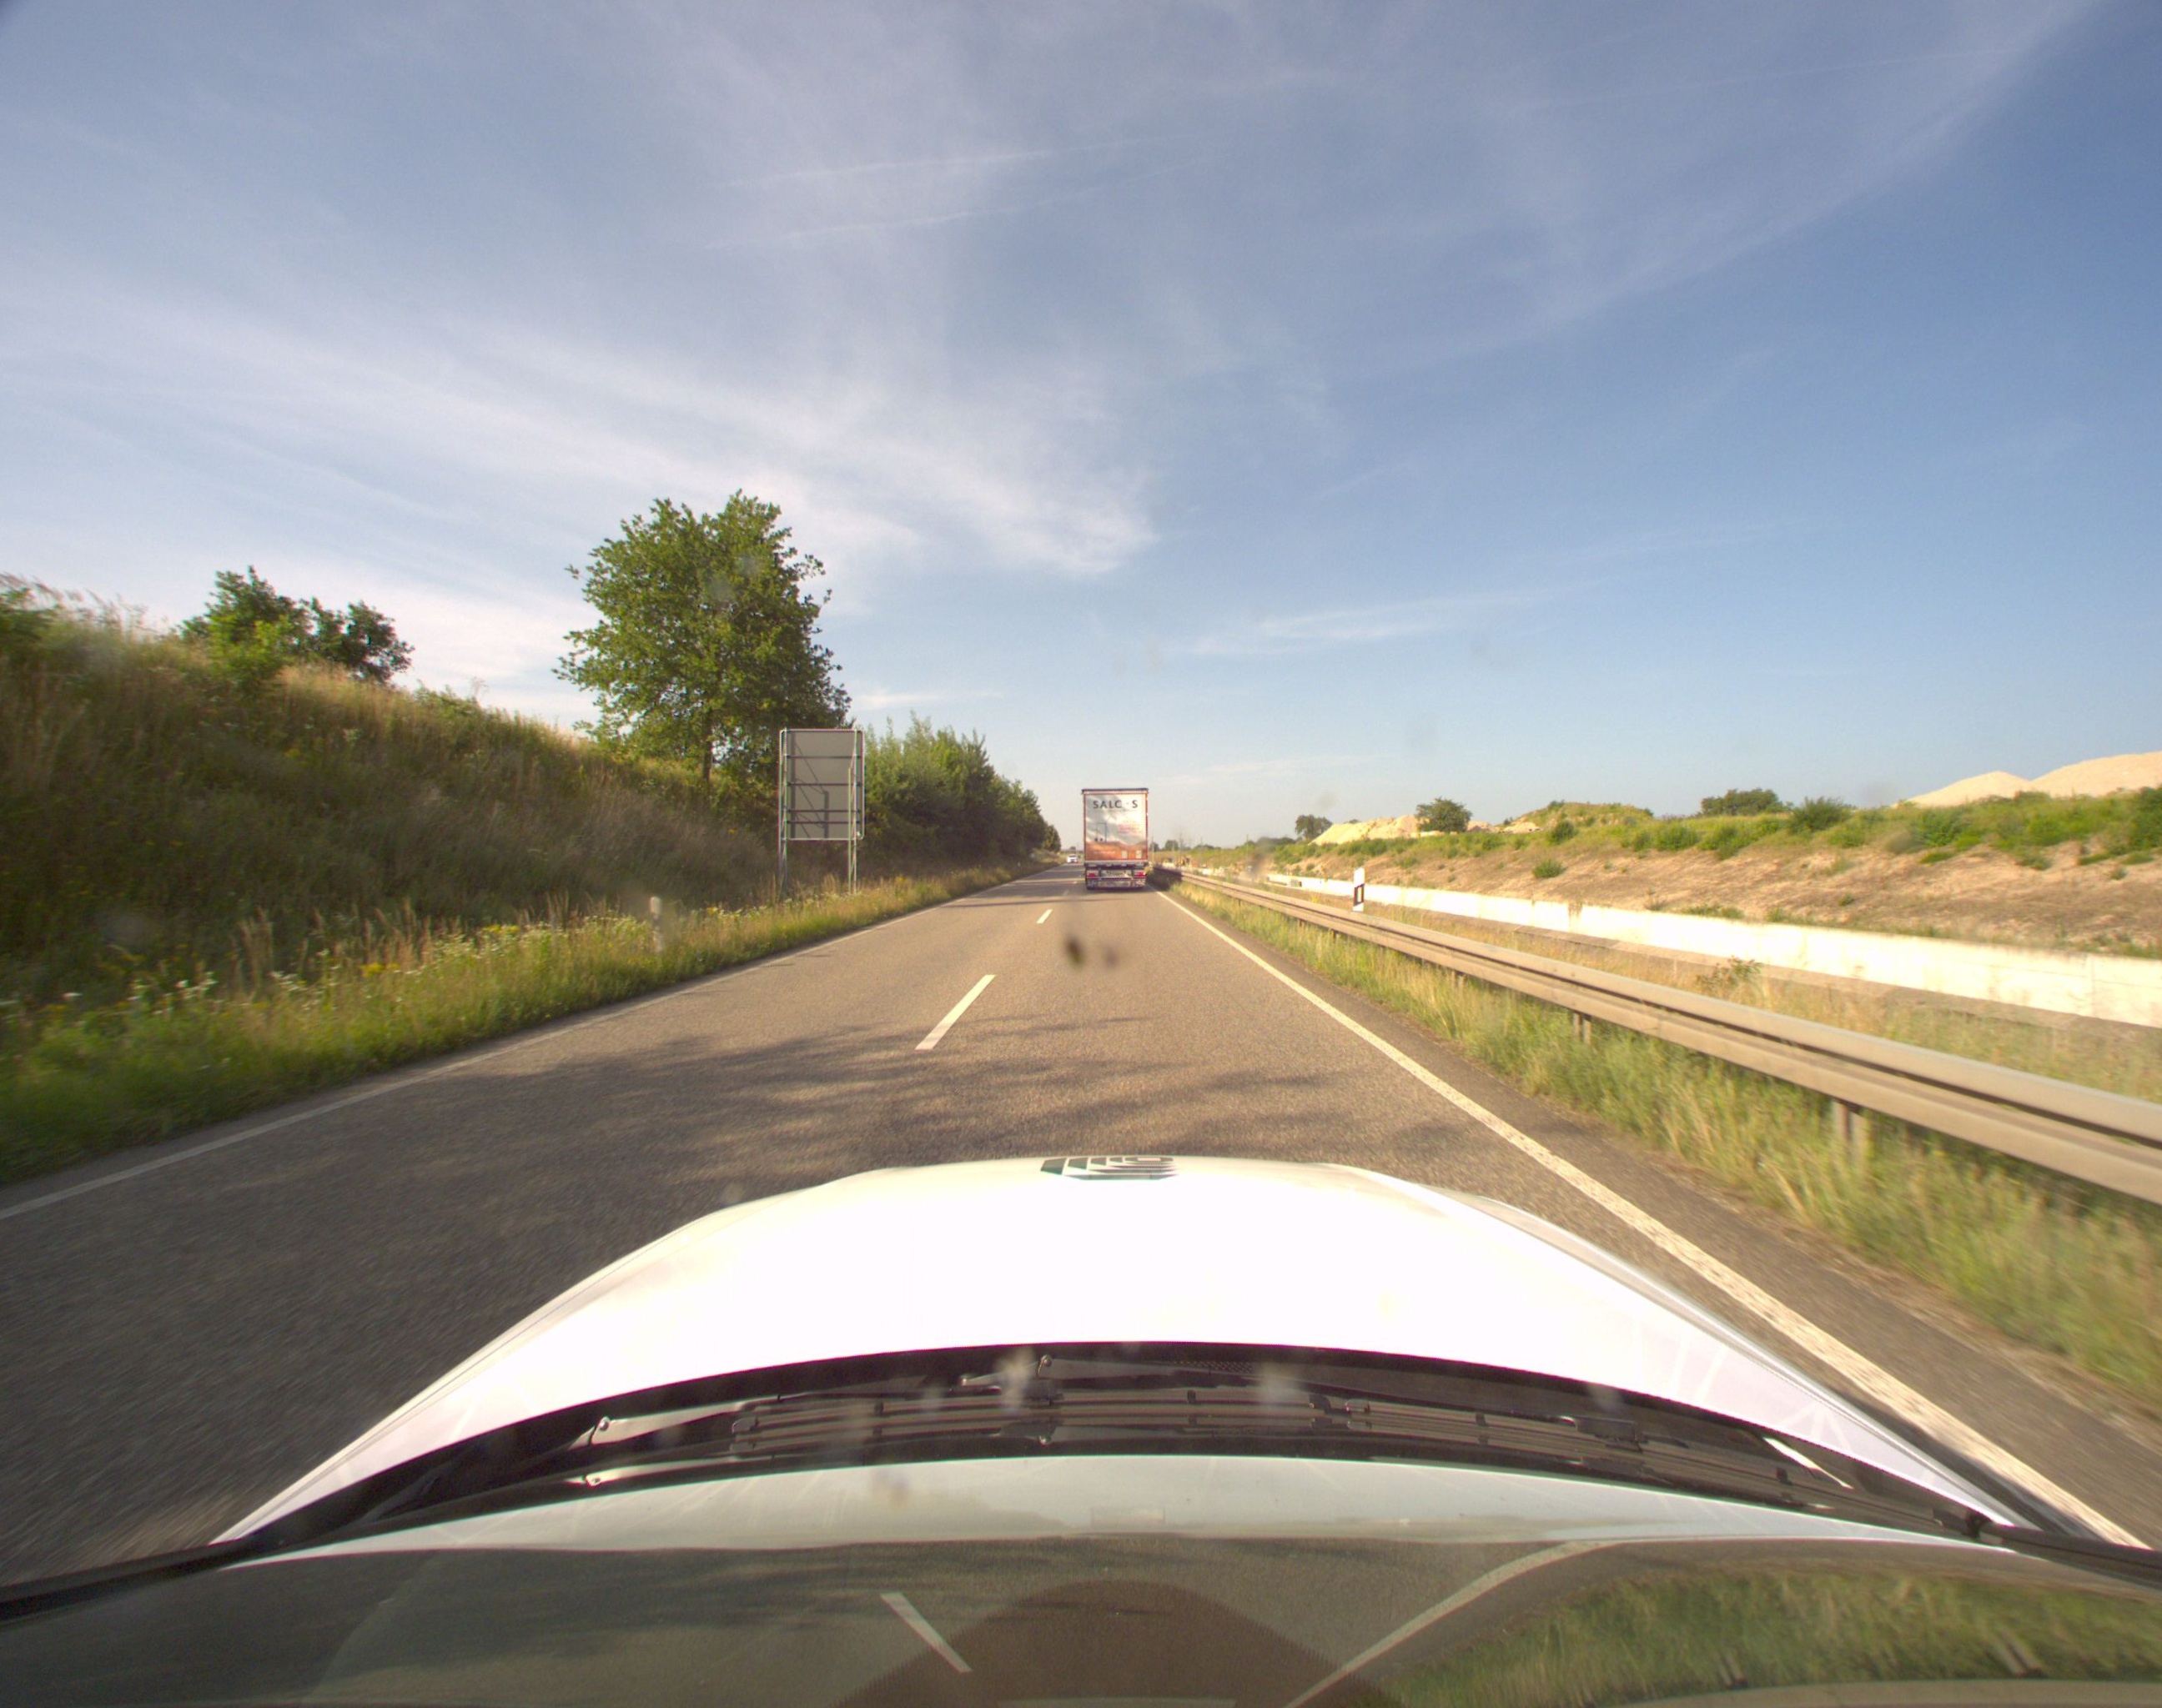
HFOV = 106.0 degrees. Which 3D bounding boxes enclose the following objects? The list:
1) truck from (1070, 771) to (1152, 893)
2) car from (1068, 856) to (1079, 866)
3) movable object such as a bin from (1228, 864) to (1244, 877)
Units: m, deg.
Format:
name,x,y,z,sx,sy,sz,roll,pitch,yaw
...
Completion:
name,x,y,z,sx,sy,sz,roll,pitch,yaw
truck,1.219,-0.831,35.781,3.142,4.688,8.441,-1,0,1
car,-1.323,1.188,141.039,1.739,1.564,4.365,0,0,0
movable object such as a bin,33.072,3.544,173.654,2.877,2.661,2.031,0,0,25
